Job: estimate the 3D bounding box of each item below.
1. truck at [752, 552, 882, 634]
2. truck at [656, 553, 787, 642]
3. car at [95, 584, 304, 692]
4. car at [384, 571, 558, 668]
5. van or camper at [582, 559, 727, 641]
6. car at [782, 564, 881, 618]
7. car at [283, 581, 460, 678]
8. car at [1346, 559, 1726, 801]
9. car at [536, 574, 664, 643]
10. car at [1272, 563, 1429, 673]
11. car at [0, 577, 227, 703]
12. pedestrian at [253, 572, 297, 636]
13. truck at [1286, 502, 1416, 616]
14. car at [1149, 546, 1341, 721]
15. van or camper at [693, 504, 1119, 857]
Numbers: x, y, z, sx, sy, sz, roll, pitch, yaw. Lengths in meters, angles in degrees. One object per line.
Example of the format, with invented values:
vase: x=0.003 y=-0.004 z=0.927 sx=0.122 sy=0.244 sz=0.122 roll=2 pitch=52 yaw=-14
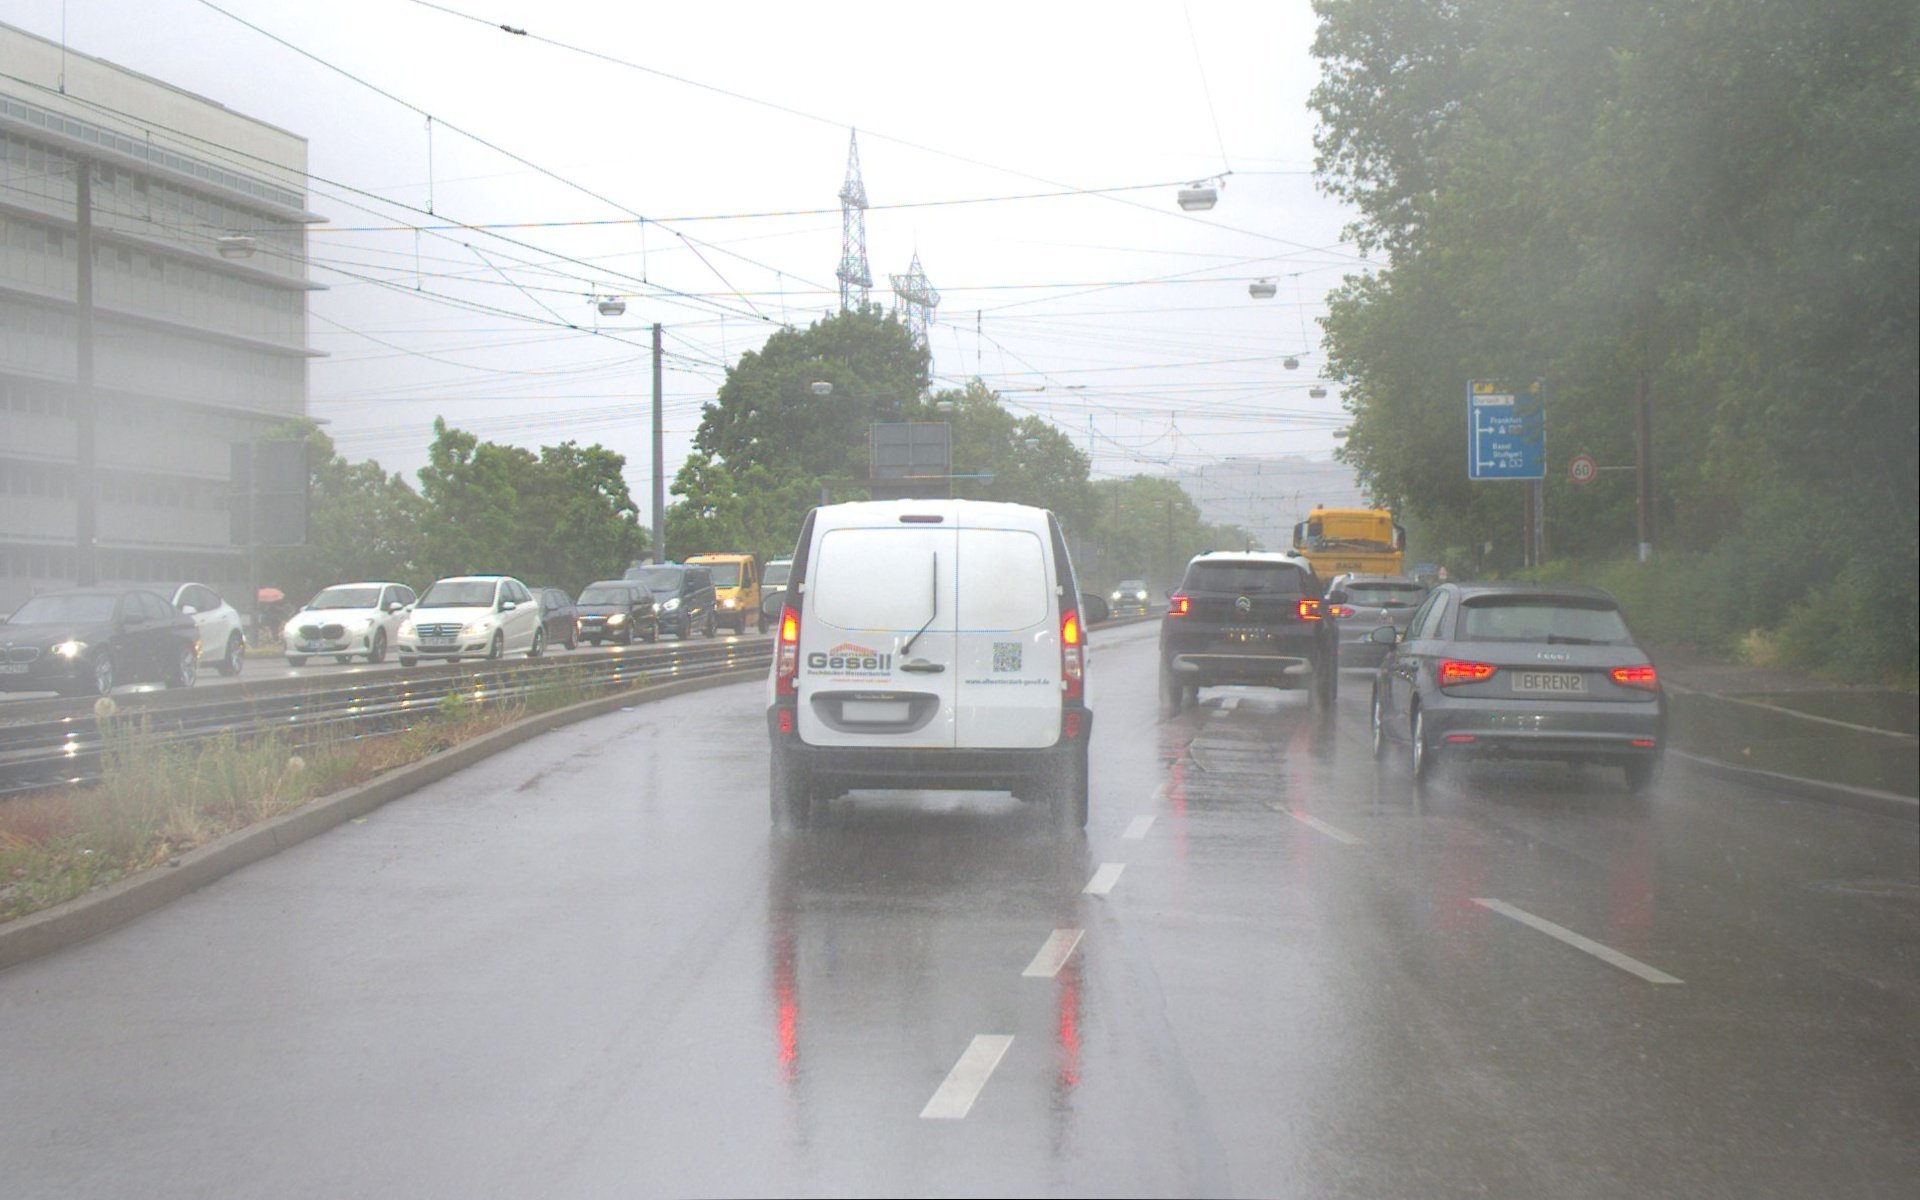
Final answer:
truck: x=-4.493 y=-0.247 z=109.575 sx=2.436 sy=2.449 sz=7.215 roll=2 pitch=1 yaw=11
truck: x=-6.914 y=-0.094 z=100.224 sx=2.228 sy=2.453 sz=6.064 roll=2 pitch=1 yaw=11
car: x=-12.871 y=0.611 z=58.483 sx=1.908 sy=1.601 sz=4.841 roll=2 pitch=1 yaw=7
car: x=-8.803 y=0.322 z=62.194 sx=1.874 sy=1.568 sz=4.326 roll=1 pitch=2 yaw=9
van or camper: x=-7.939 y=-0.008 z=89.956 sx=2.306 sy=2.007 sz=5.683 roll=2 pitch=1 yaw=10
car: x=-3.707 y=-0.241 z=99.875 sx=1.994 sy=1.452 sz=4.670 roll=-2 pitch=0 yaw=8
car: x=-11.465 y=0.553 z=67.292 sx=1.994 sy=1.828 sz=4.691 roll=0 pitch=0 yaw=9
car: x=3.994 y=0.502 z=24.490 sx=1.967 sy=1.523 sz=3.991 roll=1 pitch=1 yaw=-1
car: x=-8.812 y=0.199 z=84.592 sx=1.859 sy=1.612 sz=4.906 roll=-1 pitch=0 yaw=10
car: x=5.429 y=0.221 z=48.175 sx=1.818 sy=1.409 sz=3.778 roll=1 pitch=1 yaw=1
car: x=-11.519 y=0.474 z=45.287 sx=1.923 sy=1.418 sz=5.082 roll=1 pitch=2 yaw=9
pedestrian: x=-19.200 y=0.112 z=96.344 sx=0.823 sy=1.756 sz=1.049 roll=2 pitch=0 yaw=10
truck: x=9.906 y=-1.031 z=86.611 sx=3.114 sy=2.764 sz=6.327 roll=0 pitch=1 yaw=8
car: x=2.993 y=0.295 z=36.920 sx=1.900 sy=1.711 sz=4.725 roll=1 pitch=1 yaw=3
van or camper: x=-0.195 y=0.357 z=19.770 sx=1.994 sy=1.778 sz=4.000 roll=1 pitch=2 yaw=5
